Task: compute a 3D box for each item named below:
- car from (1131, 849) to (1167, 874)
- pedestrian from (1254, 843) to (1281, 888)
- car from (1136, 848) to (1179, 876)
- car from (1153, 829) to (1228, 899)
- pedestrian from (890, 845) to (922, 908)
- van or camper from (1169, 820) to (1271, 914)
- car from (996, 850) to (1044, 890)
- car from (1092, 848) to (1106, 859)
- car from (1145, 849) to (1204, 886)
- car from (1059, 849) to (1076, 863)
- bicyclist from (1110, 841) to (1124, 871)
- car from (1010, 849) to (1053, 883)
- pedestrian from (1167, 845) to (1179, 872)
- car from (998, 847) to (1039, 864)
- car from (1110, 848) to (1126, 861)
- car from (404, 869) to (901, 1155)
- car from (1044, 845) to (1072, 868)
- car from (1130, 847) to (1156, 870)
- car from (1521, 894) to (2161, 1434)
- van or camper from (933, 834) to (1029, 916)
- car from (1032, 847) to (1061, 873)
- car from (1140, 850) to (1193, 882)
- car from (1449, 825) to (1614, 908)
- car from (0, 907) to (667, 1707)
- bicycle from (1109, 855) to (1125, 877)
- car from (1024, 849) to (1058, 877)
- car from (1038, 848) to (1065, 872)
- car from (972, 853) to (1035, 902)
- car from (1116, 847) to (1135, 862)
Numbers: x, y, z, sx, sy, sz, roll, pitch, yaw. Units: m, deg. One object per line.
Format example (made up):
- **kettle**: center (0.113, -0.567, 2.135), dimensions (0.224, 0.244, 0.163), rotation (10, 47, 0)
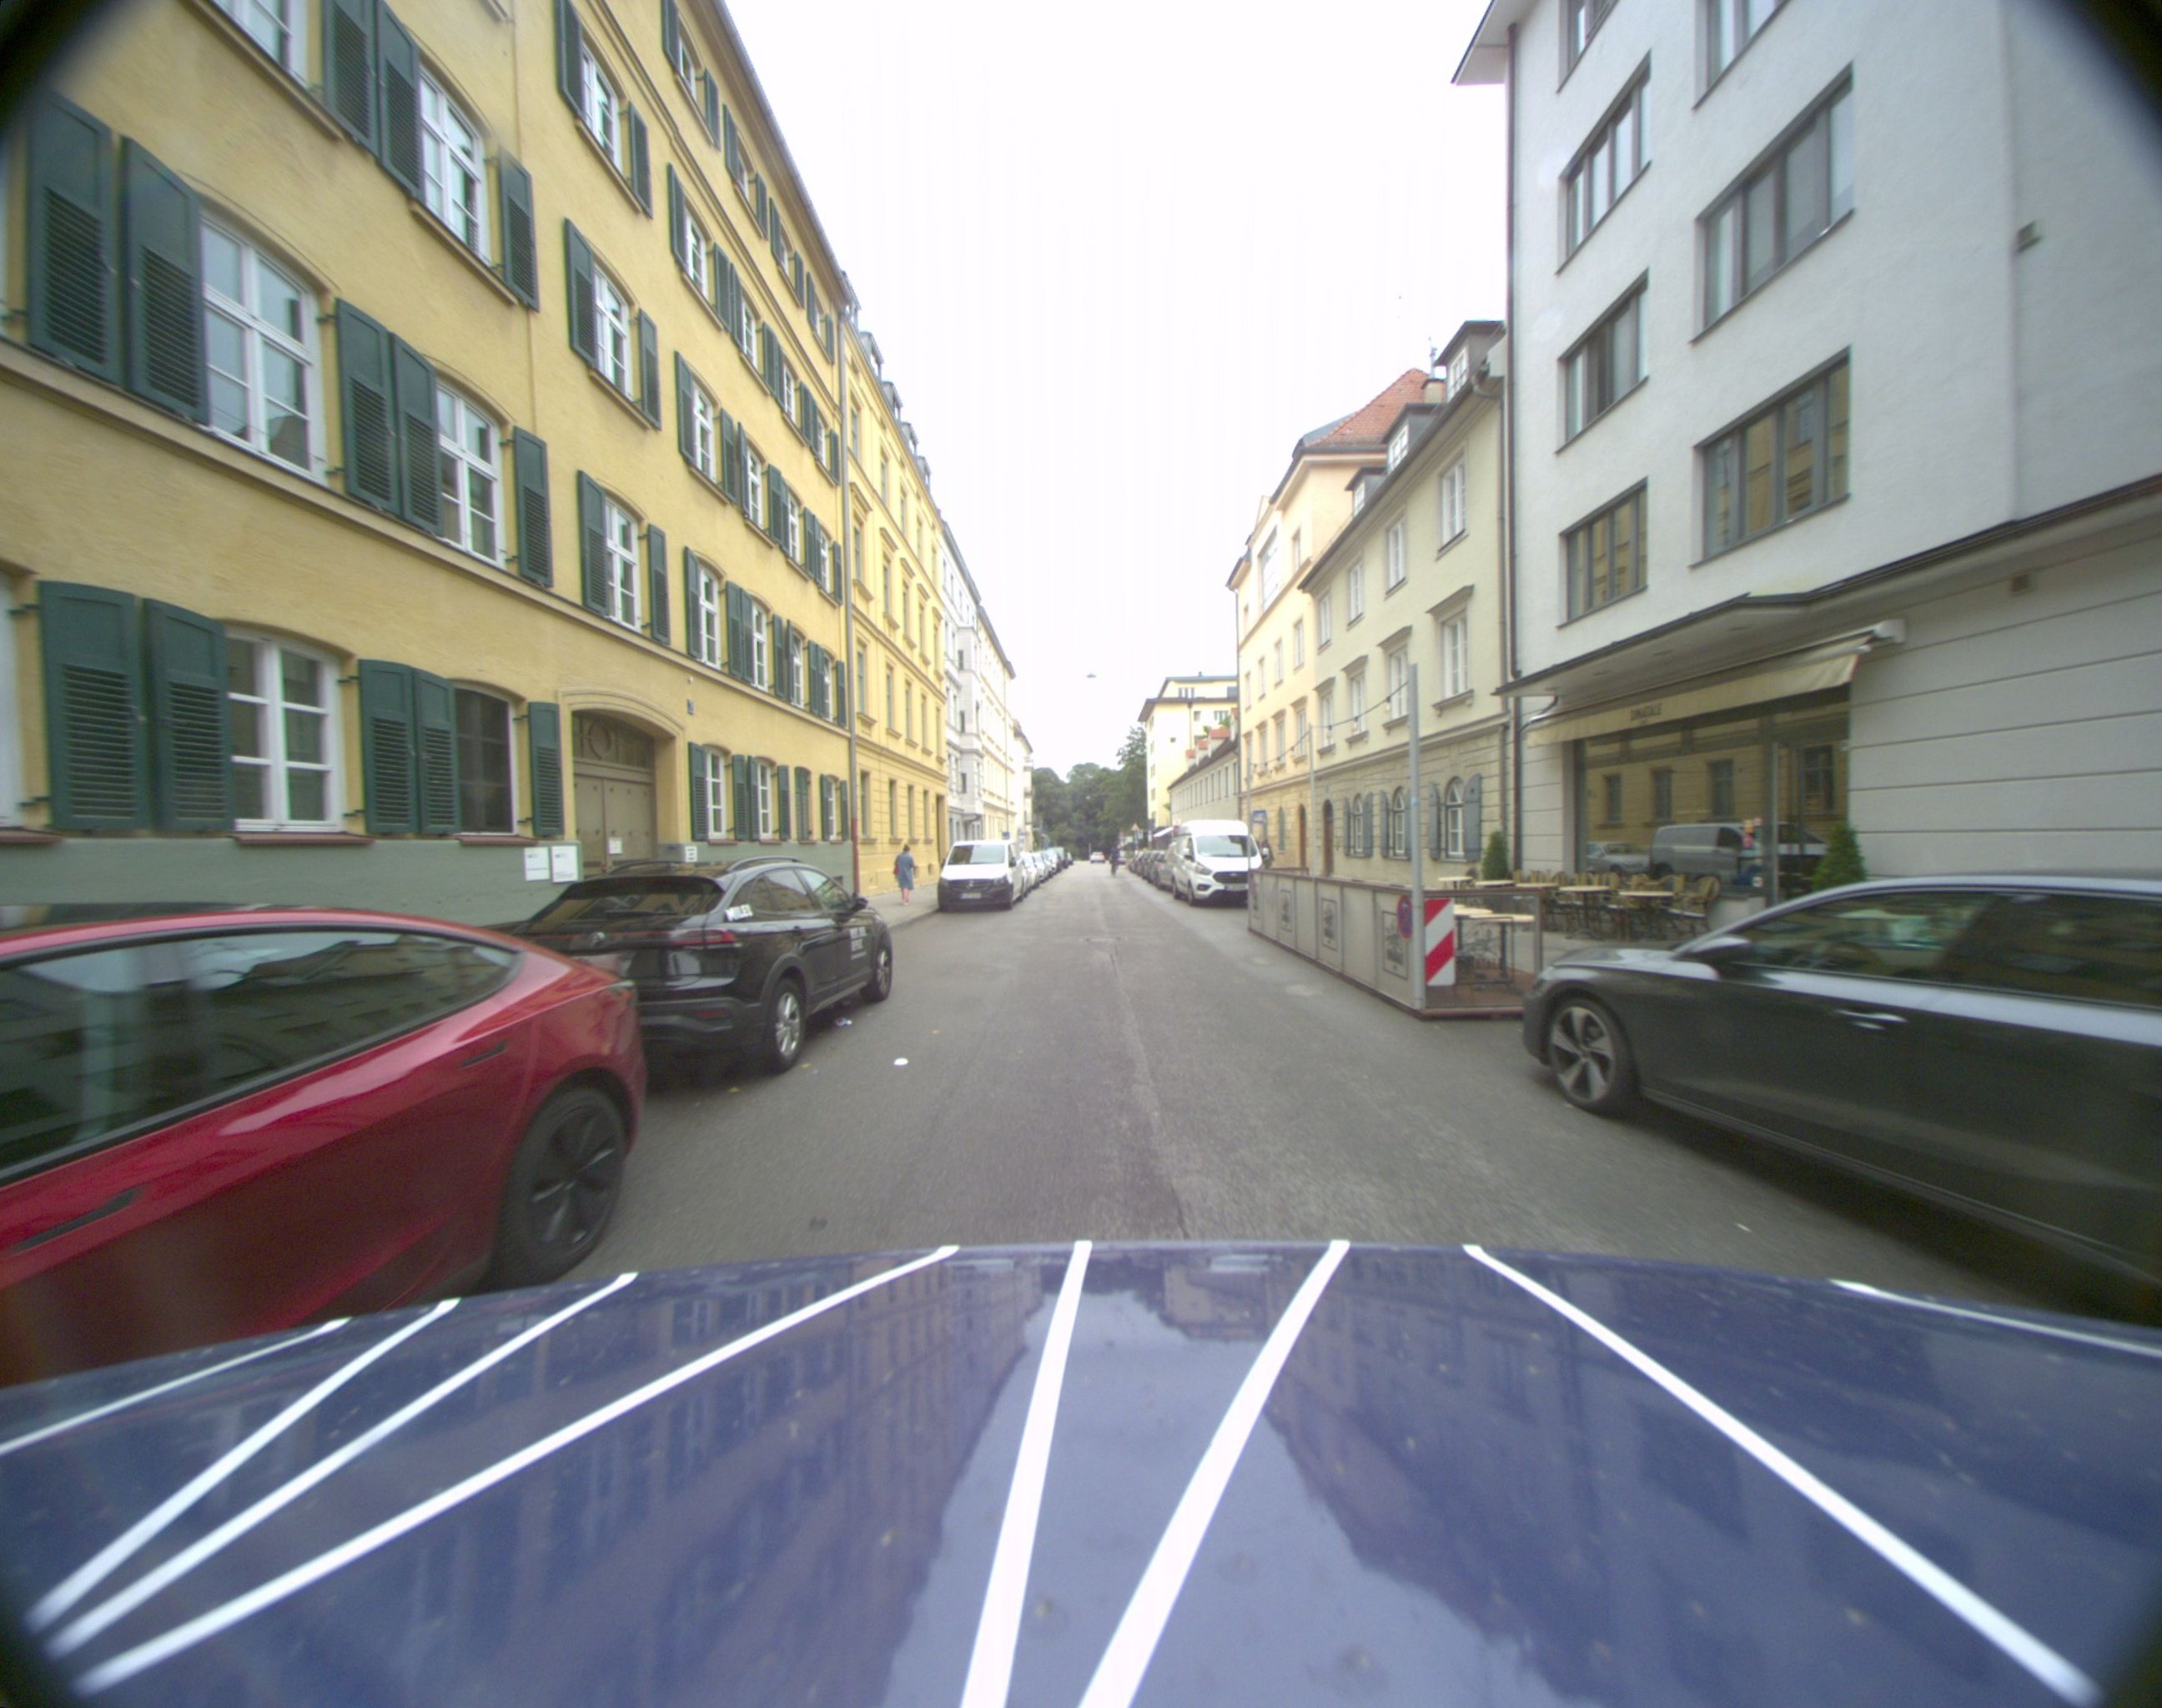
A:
- **car**: center (4.252, 0.428, 47.970), dimensions (1.862, 1.393, 4.268), rotation (-2, 1, 0)
- **pedestrian**: center (7.205, 0.428, 29.458), dimensions (0.807, 1.702, 1.021), rotation (-1, 1, 2)
- **car**: center (4.200, 0.399, 42.074), dimensions (1.862, 1.393, 4.268), rotation (-2, 1, -1)
- **car**: center (3.735, 0.297, 26.612), dimensions (1.862, 2.189, 4.560), rotation (-2, 1, -1)
- **pedestrian**: center (-4.683, 0.579, 20.371), dimensions (0.598, 1.629, 0.896), rotation (2, 1, -1)
- **van or camper**: center (3.738, 0.271, 21.447), dimensions (1.998, 2.298, 5.478), rotation (-1, 1, 1)
- **car**: center (-2.452, 0.617, 31.288), dimensions (1.627, 1.501, 3.761), rotation (-1, 1, 0)
- **car**: center (2.352, -0.042, 99.620), dimensions (1.793, 1.409, 3.904), rotation (0, 1, 0)
- **car**: center (3.847, 0.524, 32.032), dimensions (1.862, 1.393, 4.268), rotation (-2, 1, -1)
- **car**: center (-1.447, 0.201, 83.383), dimensions (1.711, 1.491, 3.999), rotation (-1, 1, 0)
- **bicyclist**: center (1.960, 0.085, 41.608), dimensions (0.688, 1.618, 0.853), rotation (-2, 1, 0)
- **car**: center (-2.402, 0.547, 37.812), dimensions (1.721, 1.501, 4.468), rotation (-1, 1, 1)
- **pedestrian**: center (5.590, 0.266, 46.274), dimensions (0.614, 1.589, 0.662), rotation (-1, 1, -3)
- **car**: center (-6.251, 0.148, 76.488), dimensions (3.998, 1.557, 1.712), rotation (-1, 1, -2)
- **car**: center (4.497, 0.054, 92.026), dimensions (1.711, 1.550, 3.999), rotation (-1, 1, 0)
- **car**: center (-2.874, 0.931, 6.260), dimensions (1.750, 1.455, 4.000), rotation (-1, 1, 1)
- **car**: center (-1.944, 0.152, 65.572), dimensions (1.998, 1.850, 5.114), rotation (-1, 1, 2)
- **car**: center (4.356, 0.299, 53.440), dimensions (1.573, 1.506, 3.423), rotation (-2, 1, 1)
- **car**: center (3.782, 0.947, 2.824), dimensions (1.644, 1.346, 4.056), rotation (0, 0, -6)
- **van or camper**: center (-2.659, 0.497, 21.520), dimensions (1.999, 2.002, 5.232), rotation (-1, 1, 0)
- **car**: center (-2.217, 0.364, 49.852), dimensions (1.721, 1.592, 4.322), rotation (-1, 1, -1)
- **car**: center (4.078, 0.530, 36.815), dimensions (1.862, 1.393, 4.268), rotation (-2, 1, -2)
- **car**: center (12.115, 0.275, 20.842), dimensions (1.998, 2.002, 4.399), rotation (-1, 1, 2)
- **car**: center (-2.737, 1.004, 1.191), dimensions (1.718, 1.416, 4.456), rotation (-1, 1, 0)
- **bicycle**: center (1.974, 0.640, 41.865), dimensions (0.734, 1.144, 1.999), rotation (-2, 1, 0)
- **car**: center (-2.246, 0.493, 43.535), dimensions (1.721, 1.501, 3.936), rotation (-1, 1, 0)
- **car**: center (-2.097, 0.404, 55.060), dimensions (1.721, 1.557, 4.142), rotation (-1, 1, 1)
- **car**: center (-2.617, 0.754, 26.603), dimensions (1.820, 1.501, 4.586), rotation (-1, 1, -1)
- **car**: center (4.555, -0.004, 78.173), dimensions (1.711, 1.491, 3.999), rotation (-1, 1, 0)
